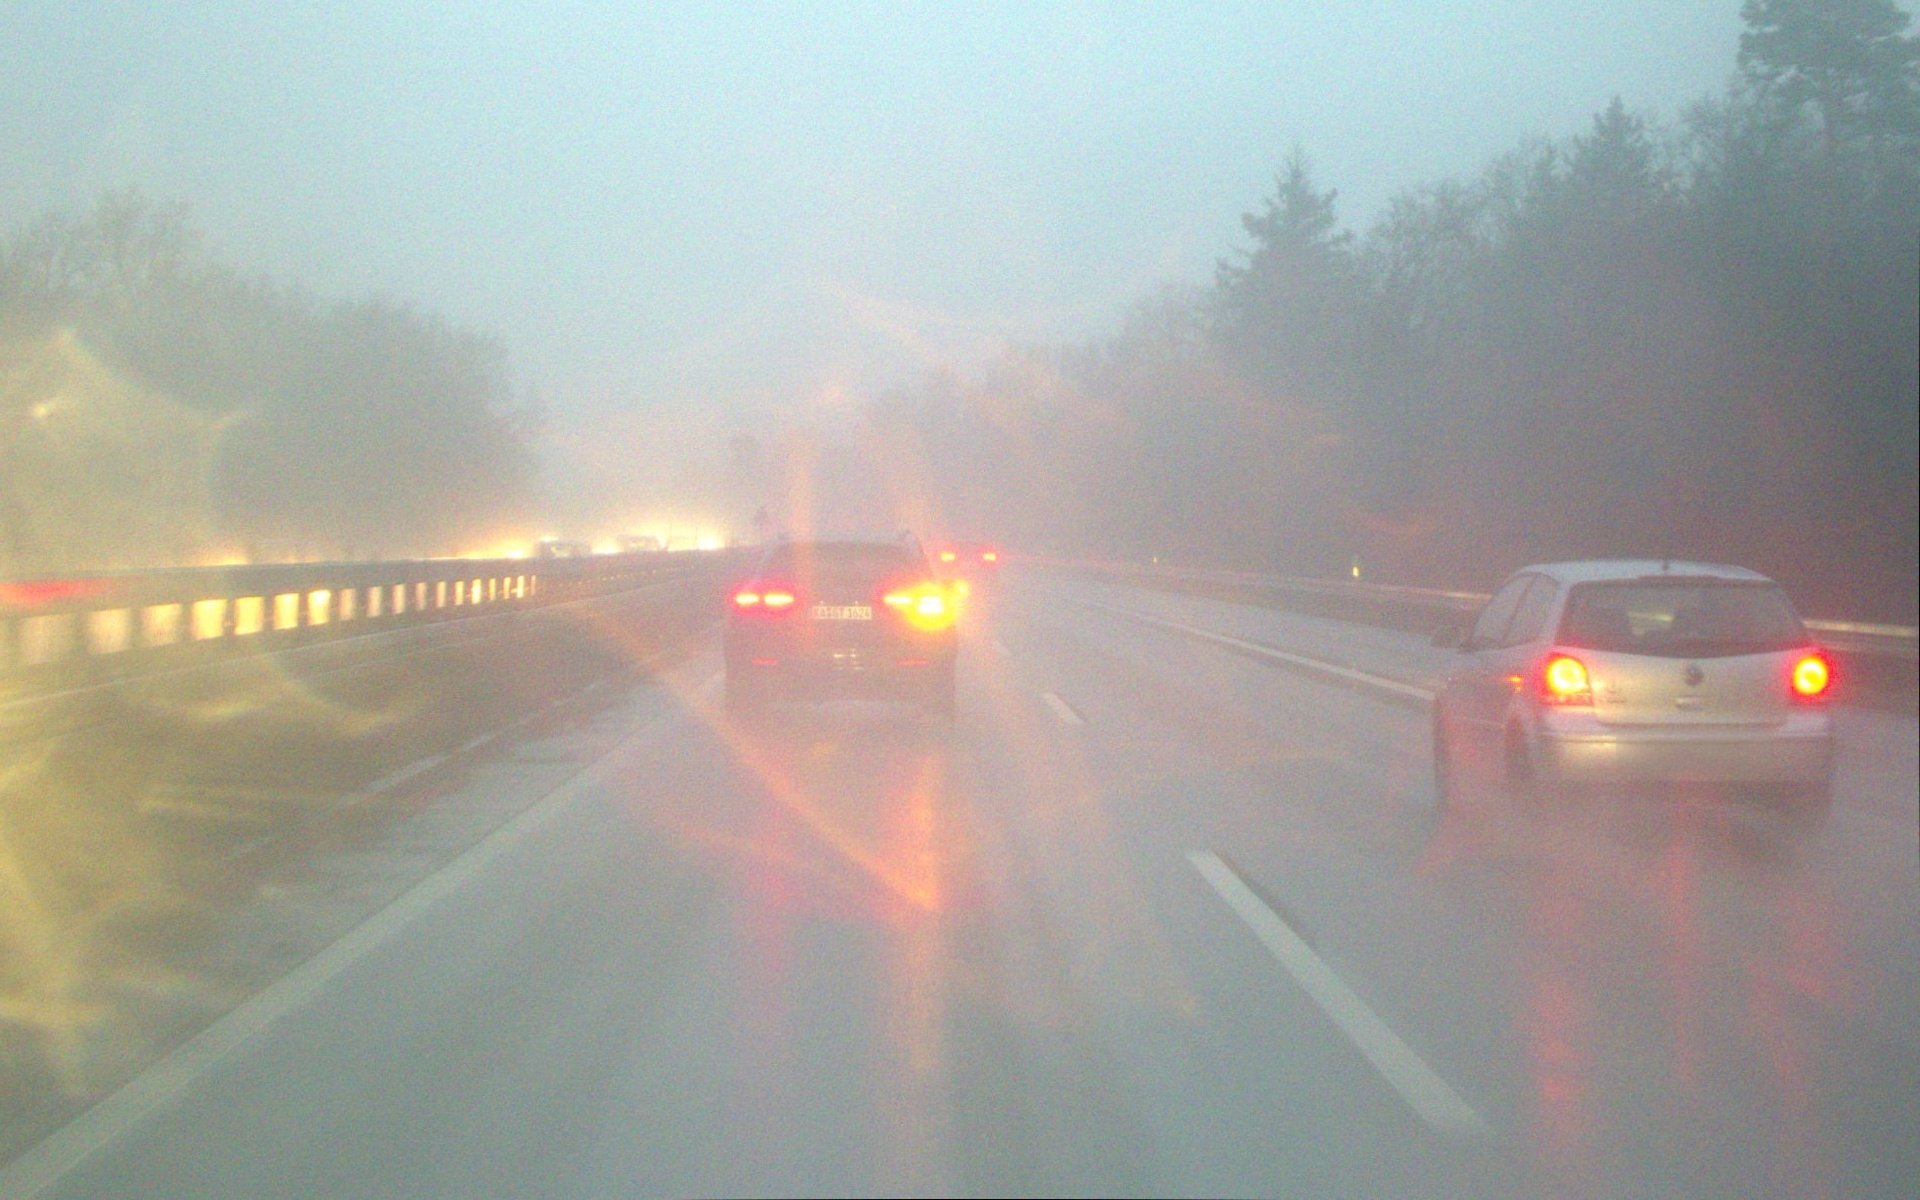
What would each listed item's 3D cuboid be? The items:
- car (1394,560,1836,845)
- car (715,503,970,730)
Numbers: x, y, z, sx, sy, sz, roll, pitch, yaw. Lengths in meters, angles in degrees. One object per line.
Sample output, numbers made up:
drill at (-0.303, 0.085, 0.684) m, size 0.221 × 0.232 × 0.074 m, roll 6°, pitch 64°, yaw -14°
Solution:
car at (3.611, 0.511, 19.543) m, size 1.780 × 1.432 × 3.537 m, roll 1°, pitch 1°, yaw -1°
car at (-1.007, 0.088, 29.010) m, size 1.986 × 1.761 × 4.174 m, roll 0°, pitch 1°, yaw -2°
